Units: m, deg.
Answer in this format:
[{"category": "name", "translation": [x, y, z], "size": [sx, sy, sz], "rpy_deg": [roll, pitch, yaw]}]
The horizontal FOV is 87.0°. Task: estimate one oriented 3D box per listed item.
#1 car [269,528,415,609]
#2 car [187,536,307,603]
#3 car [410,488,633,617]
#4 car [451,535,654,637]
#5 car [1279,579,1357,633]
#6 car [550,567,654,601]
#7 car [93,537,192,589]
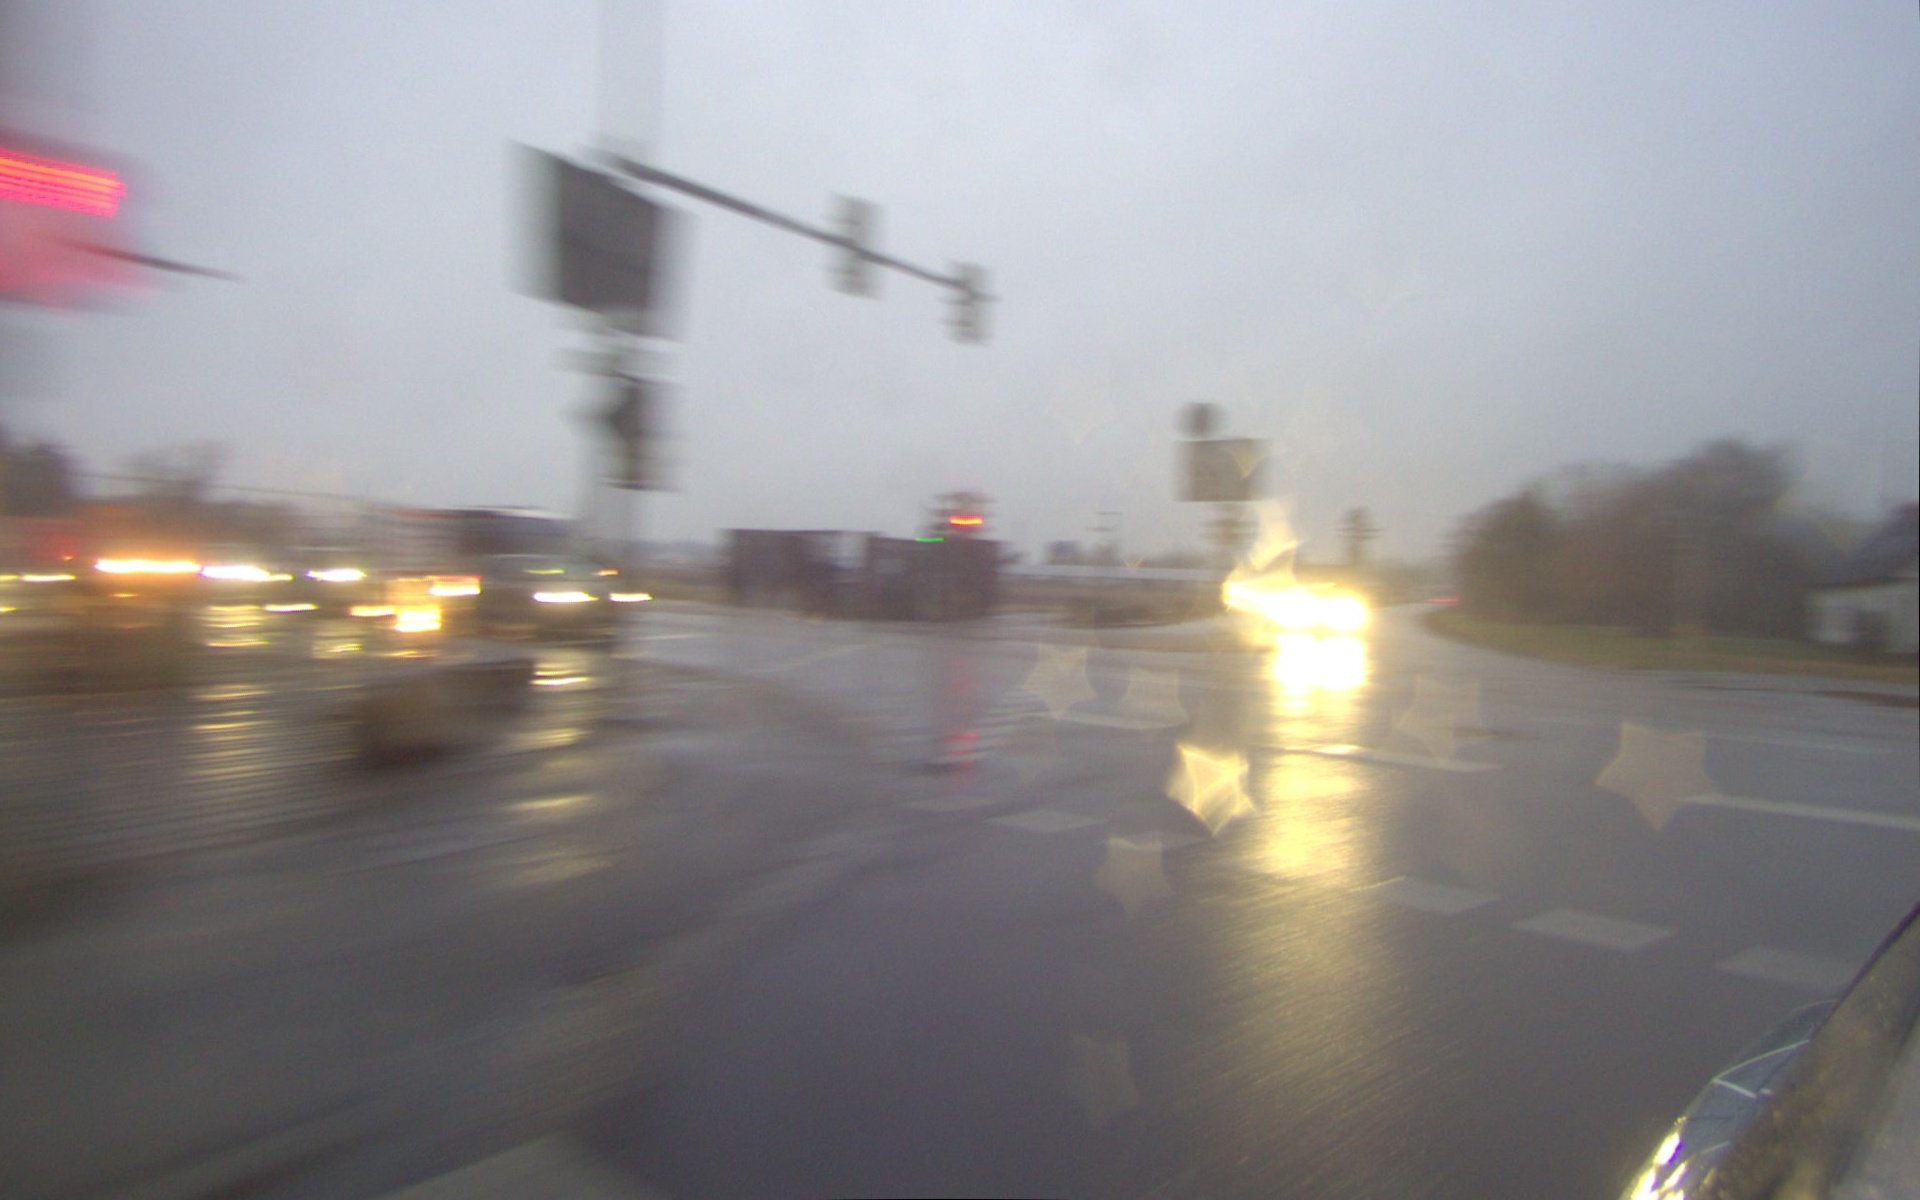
[{"category": "car", "translation": [-15.050, -0.784, 24.589], "size": [3.733, 1.791, 1.808], "rpy_deg": [3, 2, 38]}, {"category": "car", "translation": [-20.104, -0.868, 28.496], "size": [3.907, 1.745, 1.704], "rpy_deg": [2, 2, 38]}, {"category": "car", "translation": [-11.439, -1.197, 26.182], "size": [6.214, 2.929, 2.377], "rpy_deg": [3, -1, 36]}, {"category": "car", "translation": [-7.954, -0.345, 19.635], "size": [3.980, 1.768, 1.973], "rpy_deg": [3, 3, 38]}, {"category": "car", "translation": [12.540, 0.171, 35.673], "size": [1.788, 1.710, 3.907], "rpy_deg": [3, 1, 9]}, {"category": "car", "translation": [-17.326, -0.806, 49.140], "size": [1.769, 1.548, 4.477], "rpy_deg": [3, 3, 39]}, {"category": "car", "translation": [-27.020, -1.217, 33.422], "size": [3.907, 1.626, 1.704], "rpy_deg": [2, 2, 38]}]
